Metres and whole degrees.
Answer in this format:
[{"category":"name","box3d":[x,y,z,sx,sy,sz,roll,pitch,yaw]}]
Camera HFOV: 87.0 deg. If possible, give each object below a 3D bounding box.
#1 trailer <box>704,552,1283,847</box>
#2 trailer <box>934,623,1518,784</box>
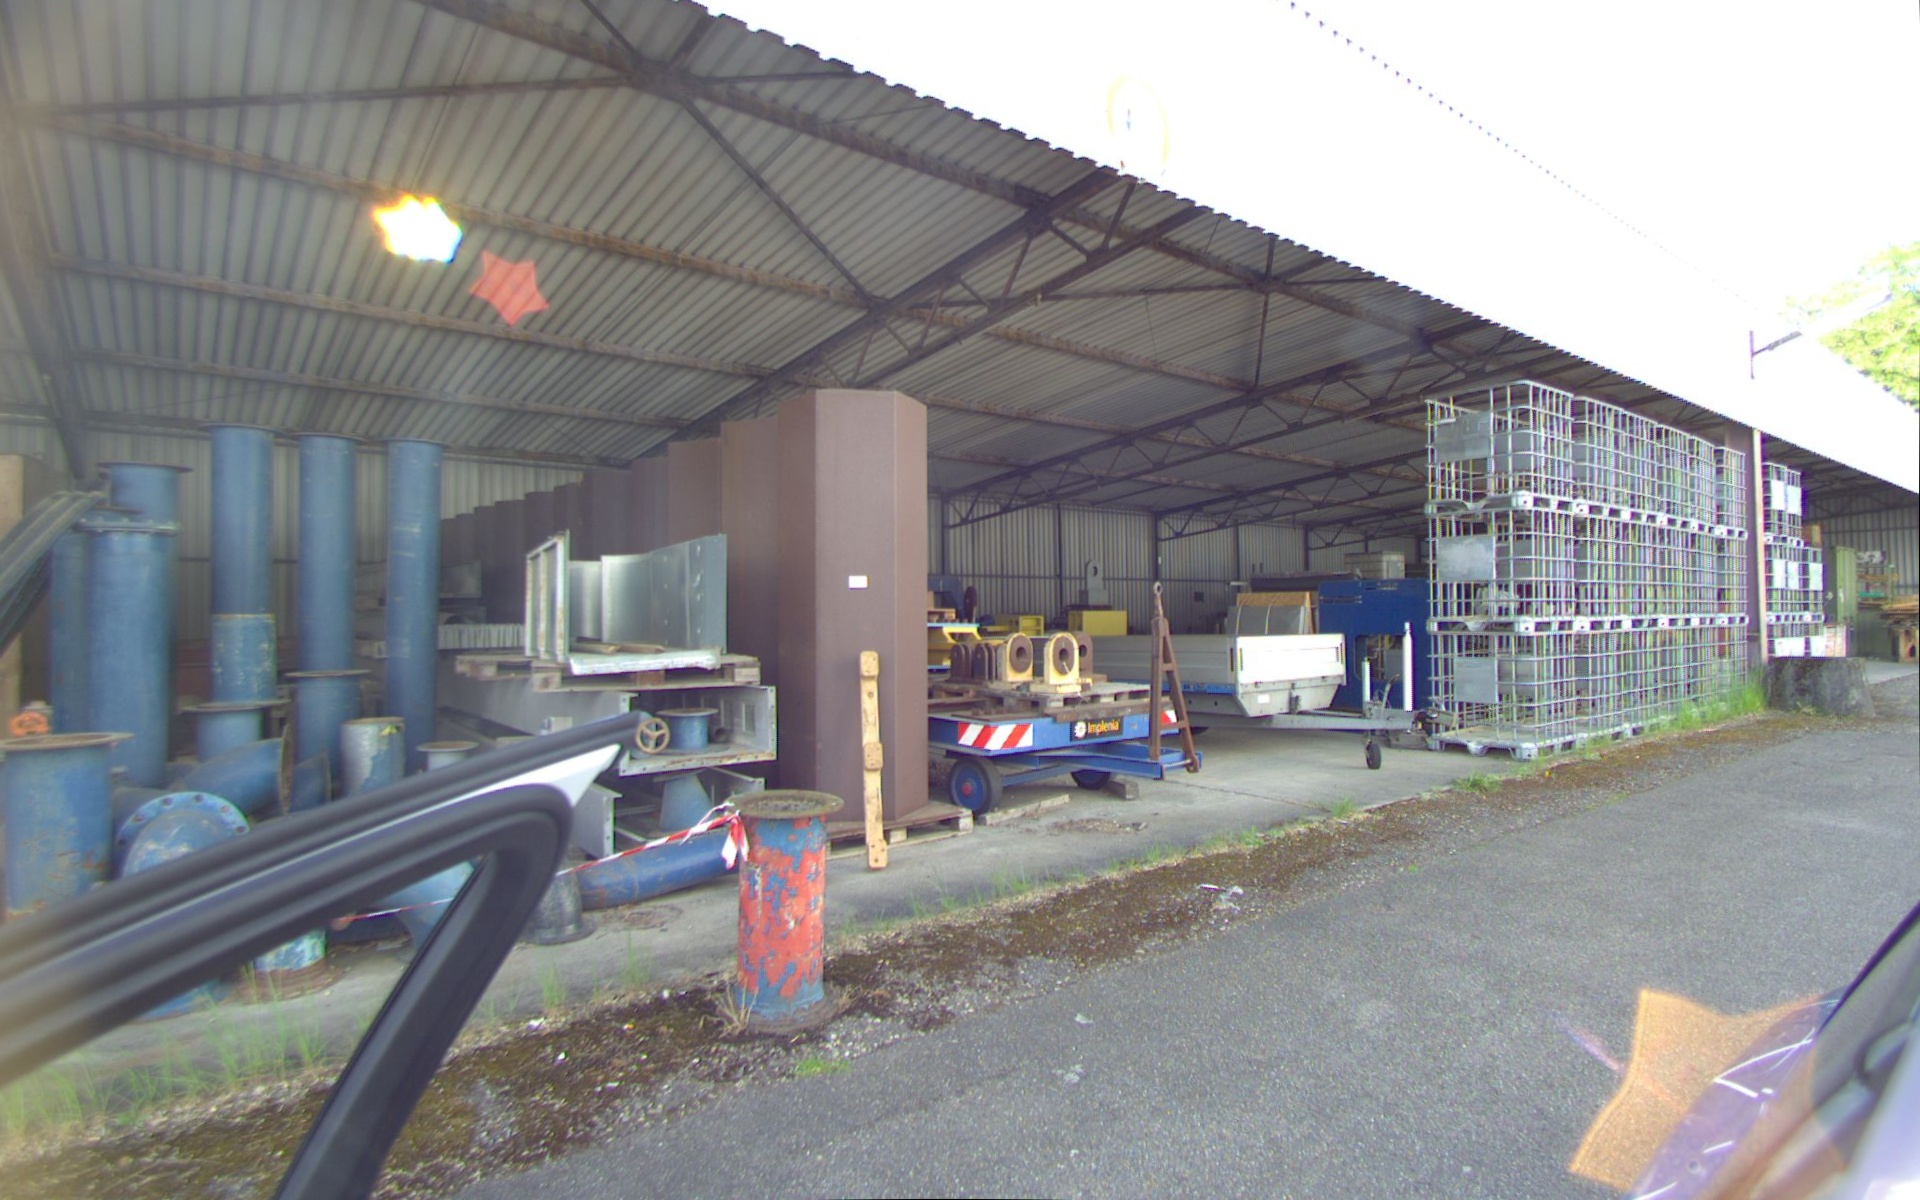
[{"category":"trailer","box3d":[-0.088,0.577,8.213,1.993,1.649,4.877,0,-1,-39]},{"category":"trailer","box3d":[2.289,0.843,10.505,1.993,1.134,5.834,0,-1,-39]}]
